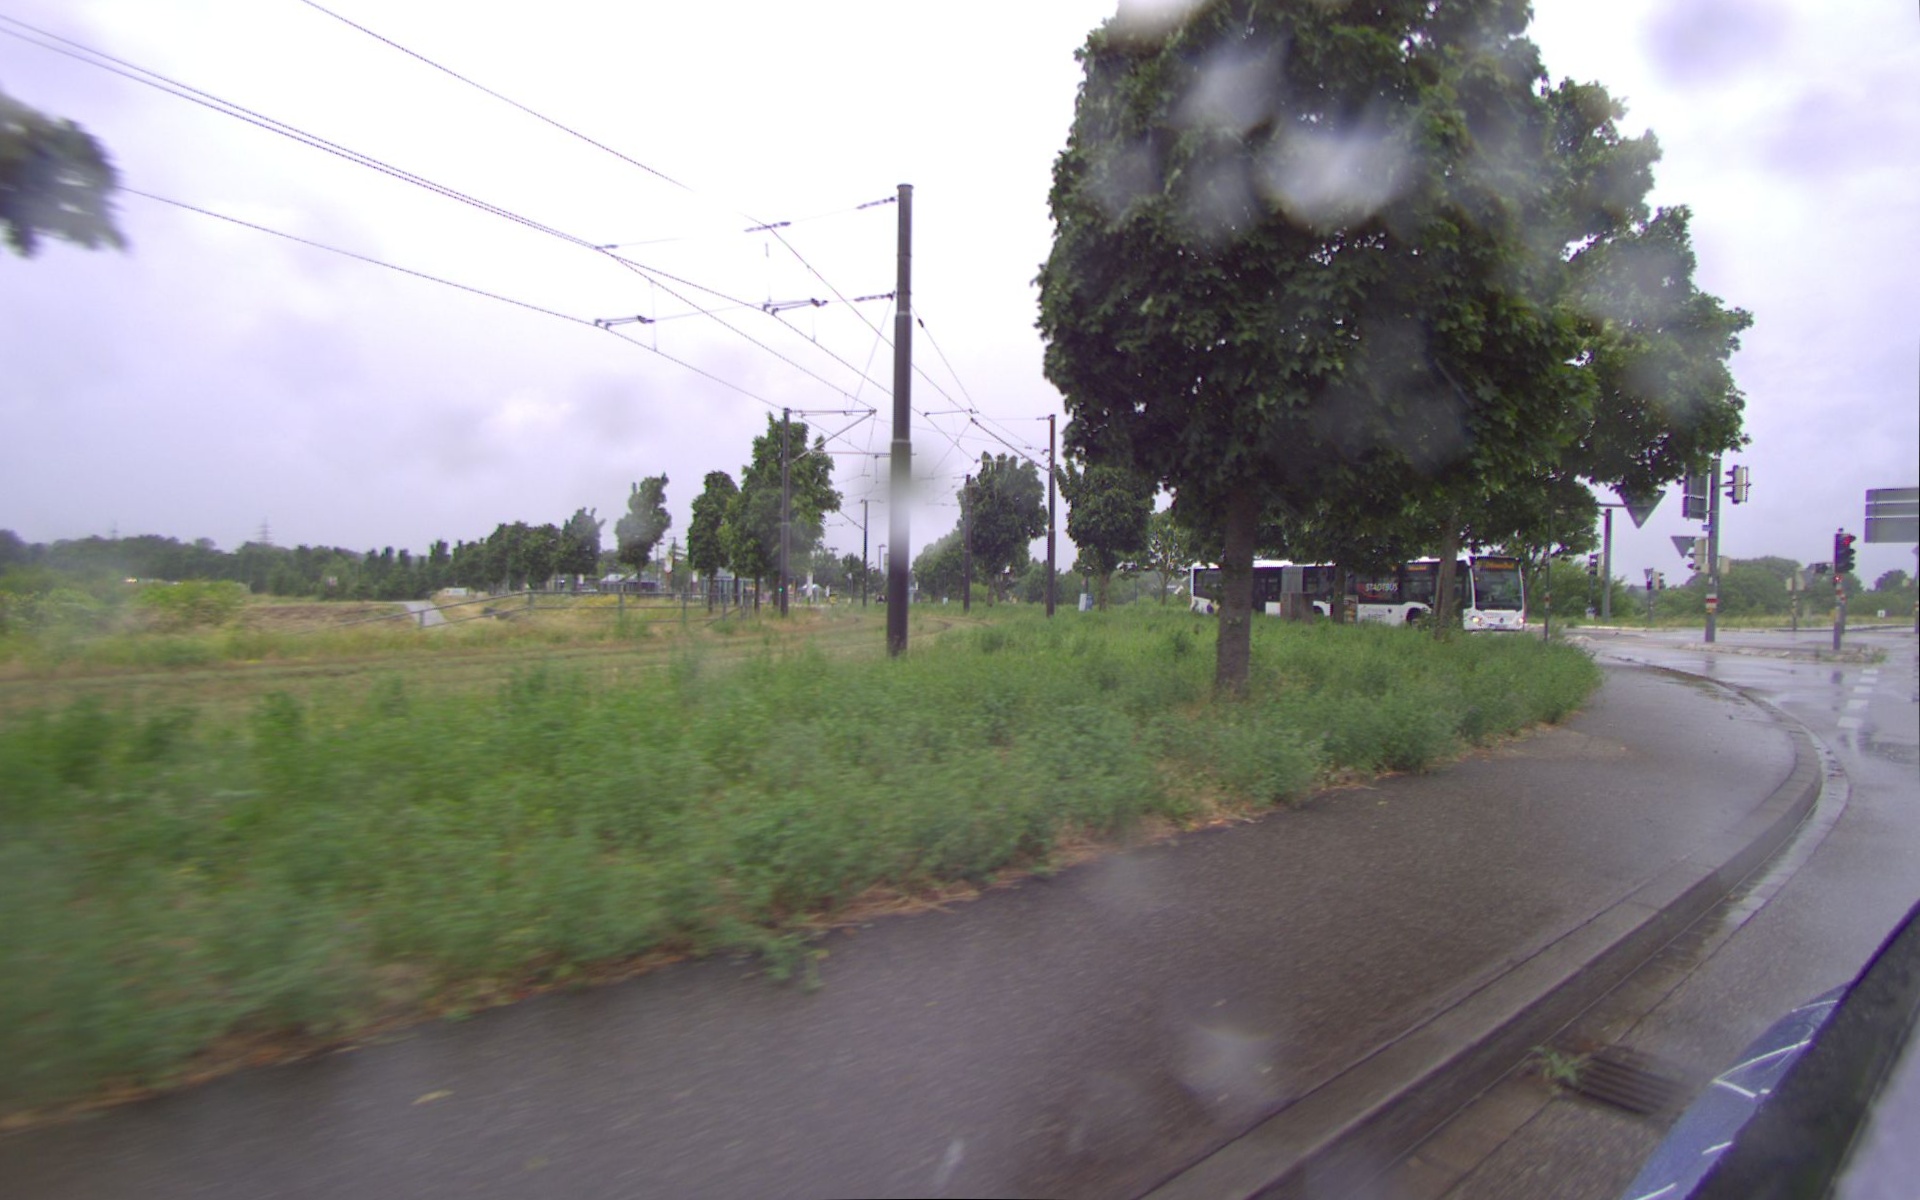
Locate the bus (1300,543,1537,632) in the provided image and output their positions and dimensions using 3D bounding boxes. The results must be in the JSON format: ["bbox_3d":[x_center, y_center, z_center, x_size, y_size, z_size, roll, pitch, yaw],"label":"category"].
[{"bbox_3d":[17.802,-0.513,40.430,2.622,3.116,10.016,0,1,-18],"label":"bus"}]

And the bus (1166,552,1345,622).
[{"bbox_3d":[14.225,-0.651,49.893,2.623,3.116,10.013,0,1,-24],"label":"bus"}]
